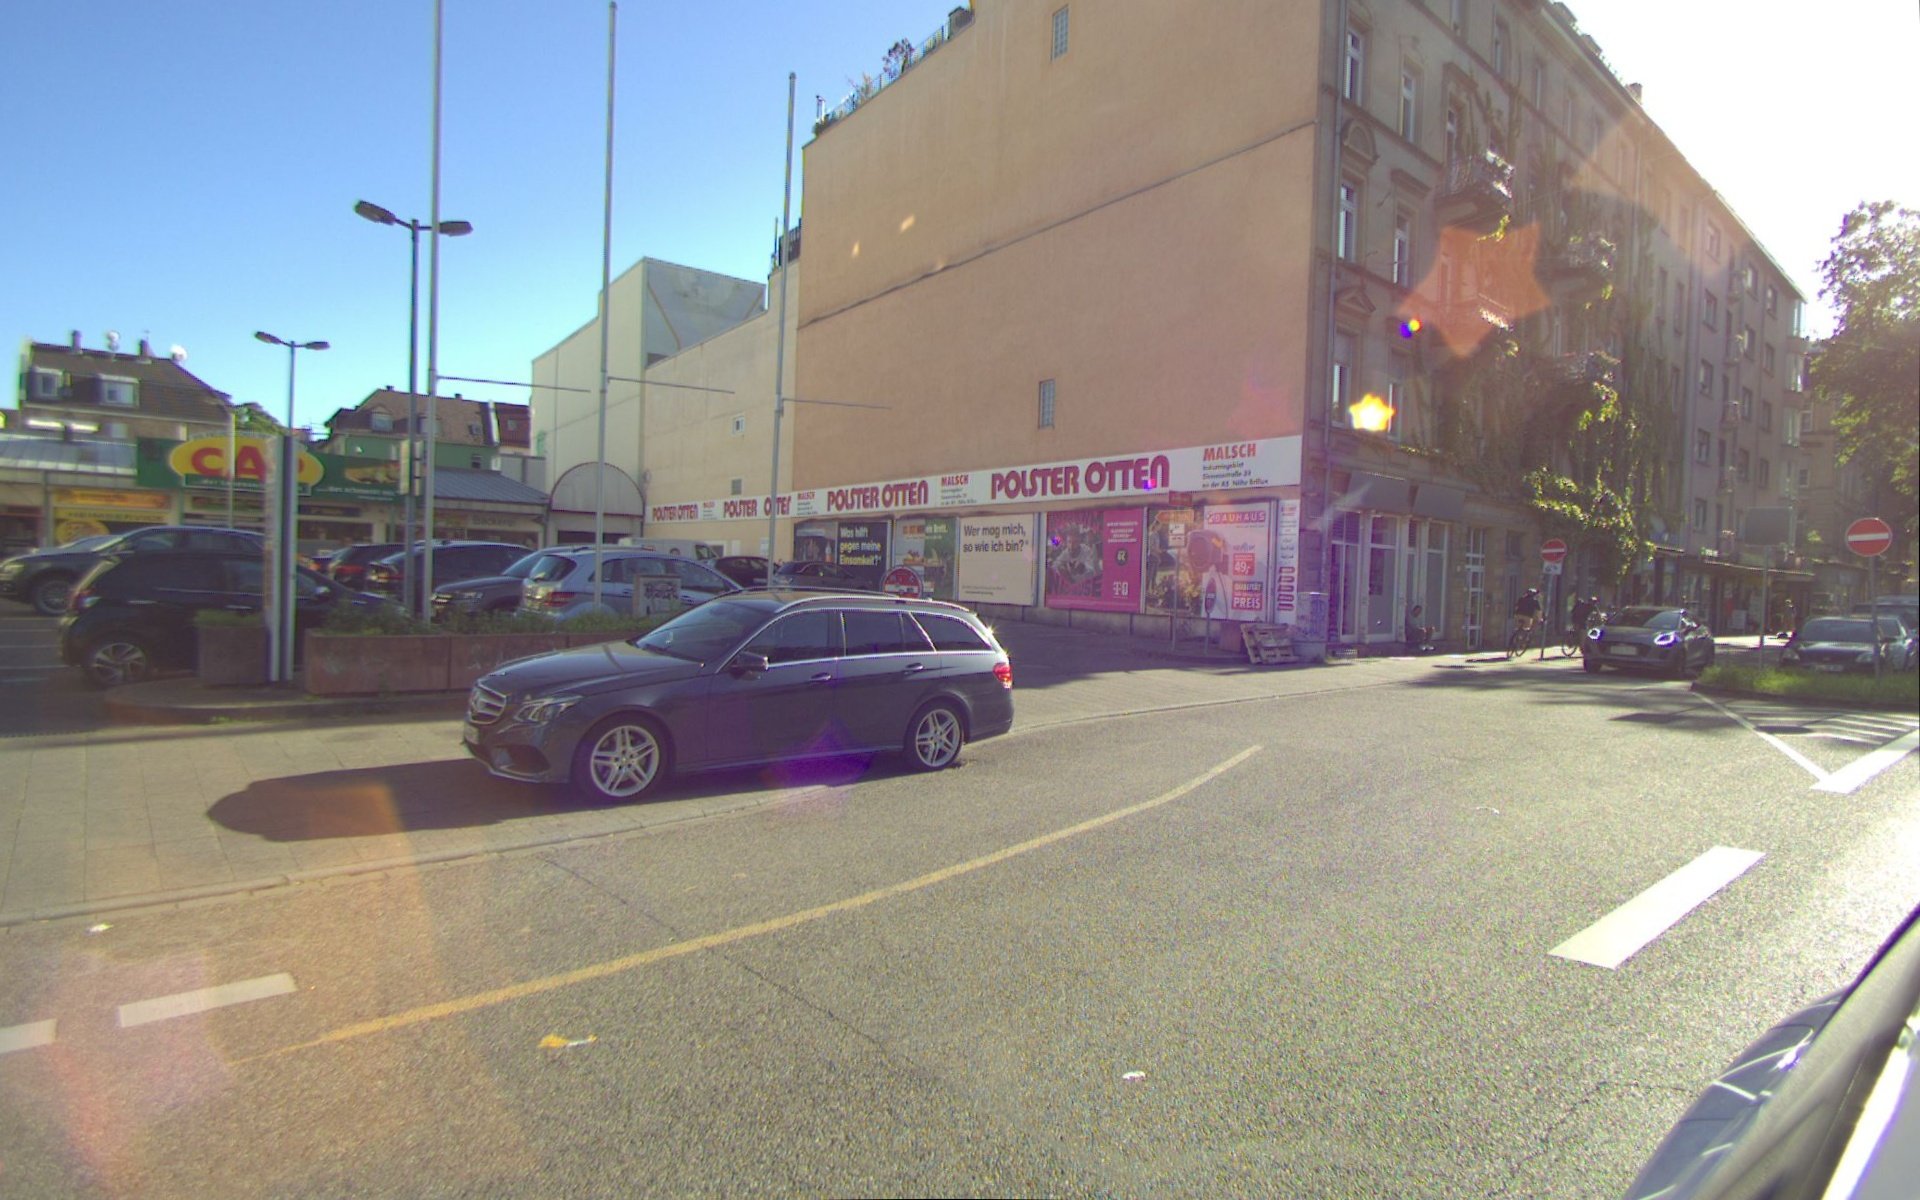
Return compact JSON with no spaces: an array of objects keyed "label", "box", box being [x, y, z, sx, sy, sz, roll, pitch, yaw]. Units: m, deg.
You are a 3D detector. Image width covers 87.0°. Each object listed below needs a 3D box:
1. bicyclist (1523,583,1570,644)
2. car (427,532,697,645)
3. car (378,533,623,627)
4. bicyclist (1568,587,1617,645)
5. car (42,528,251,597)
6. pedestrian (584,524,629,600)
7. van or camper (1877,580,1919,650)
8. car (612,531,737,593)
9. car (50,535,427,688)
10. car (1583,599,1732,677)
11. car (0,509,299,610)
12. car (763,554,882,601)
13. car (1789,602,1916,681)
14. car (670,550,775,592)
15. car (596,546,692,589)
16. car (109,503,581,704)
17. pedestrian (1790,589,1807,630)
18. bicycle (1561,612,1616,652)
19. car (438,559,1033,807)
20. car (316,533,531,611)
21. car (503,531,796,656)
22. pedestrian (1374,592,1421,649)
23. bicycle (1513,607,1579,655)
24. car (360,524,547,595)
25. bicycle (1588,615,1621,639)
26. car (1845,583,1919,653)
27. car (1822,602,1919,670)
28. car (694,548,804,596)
[{"label":"bicyclist","box":[14.698,0.325,25.371,0.935,1.480,0.746,0,0,-41]},{"label":"car","box":[-6.703,-0.208,17.283,3.933,1.714,1.747,0,2,-44]},{"label":"car","box":[-8.477,-0.363,18.871,3.871,1.563,1.544,0,2,-43]},{"label":"bicyclist","box":[17.174,0.424,27.478,1.161,1.463,0.678,1,5,-41]},{"label":"car","box":[-20.080,-0.906,25.107,3.930,1.538,1.725,1,2,-41]},{"label":"pedestrian","box":[-9.724,-1.043,27.860,0.907,2.039,0.818,1,1,-40]},{"label":"van or camper","box":[30.420,0.467,31.756,5.006,2.038,1.887,0,2,-42]},{"label":"car","box":[-12.088,-1.594,42.957,4.786,2.442,1.713,1,2,-31]},{"label":"car","box":[-8.218,0.086,11.687,3.339,1.504,1.559,0,2,-45]},{"label":"car","box":[15.719,0.788,22.727,4.303,1.547,1.701,0,1,-40]},{"label":"car","box":[-15.128,-0.704,19.037,4.305,1.687,1.758,0,2,-41]},{"label":"car","box":[-4.539,-0.754,33.553,3.579,1.481,1.680,-1,3,-39]},{"label":"car","box":[19.269,0.822,21.799,3.932,1.537,1.642,0,-1,-43]},{"label":"car","box":[-9.125,-1.120,39.003,3.575,1.552,1.682,-1,2,-35]},{"label":"car","box":[-14.771,-1.512,47.320,3.967,1.823,1.664,1,2,-30]},{"label":"car","box":[-6.092,0.008,10.315,3.839,1.665,1.651,0,2,-45]},{"label":"pedestrian","box":[38.363,0.424,46.322,0.507,1.856,0.469,1,1,-41]},{"label":"bicycle","box":[17.126,0.847,27.559,1.884,0.930,0.651,-1,7,-40]},{"label":"car","box":[-1.712,0.525,8.728,4.650,1.505,1.838,0,4,-40]},{"label":"car","box":[-11.599,-0.579,22.023,3.870,1.563,1.544,0,2,-42]},{"label":"car","box":[-4.660,-0.124,15.526,3.934,1.665,1.746,0,2,-45]},{"label":"pedestrian","box":[10.264,0.471,23.745,0.701,1.276,0.717,1,4,-40]},{"label":"bicycle","box":[14.675,0.751,25.332,1.918,1.116,0.758,1,2,-39]},{"label":"car","box":[-12.578,-0.984,25.238,3.870,1.601,1.659,0,2,-42]},{"label":"bicycle","box":[20.670,0.852,32.440,1.486,0.714,0.469,1,1,-41]},{"label":"car","box":[26.302,0.481,28.218,3.929,1.785,1.868,0,2,-40]},{"label":"car","box":[22.517,0.817,24.730,3.932,1.537,1.740,0,-1,-43]},{"label":"car","box":[-7.746,-1.041,37.219,3.575,1.690,1.682,-1,2,-35]}]
